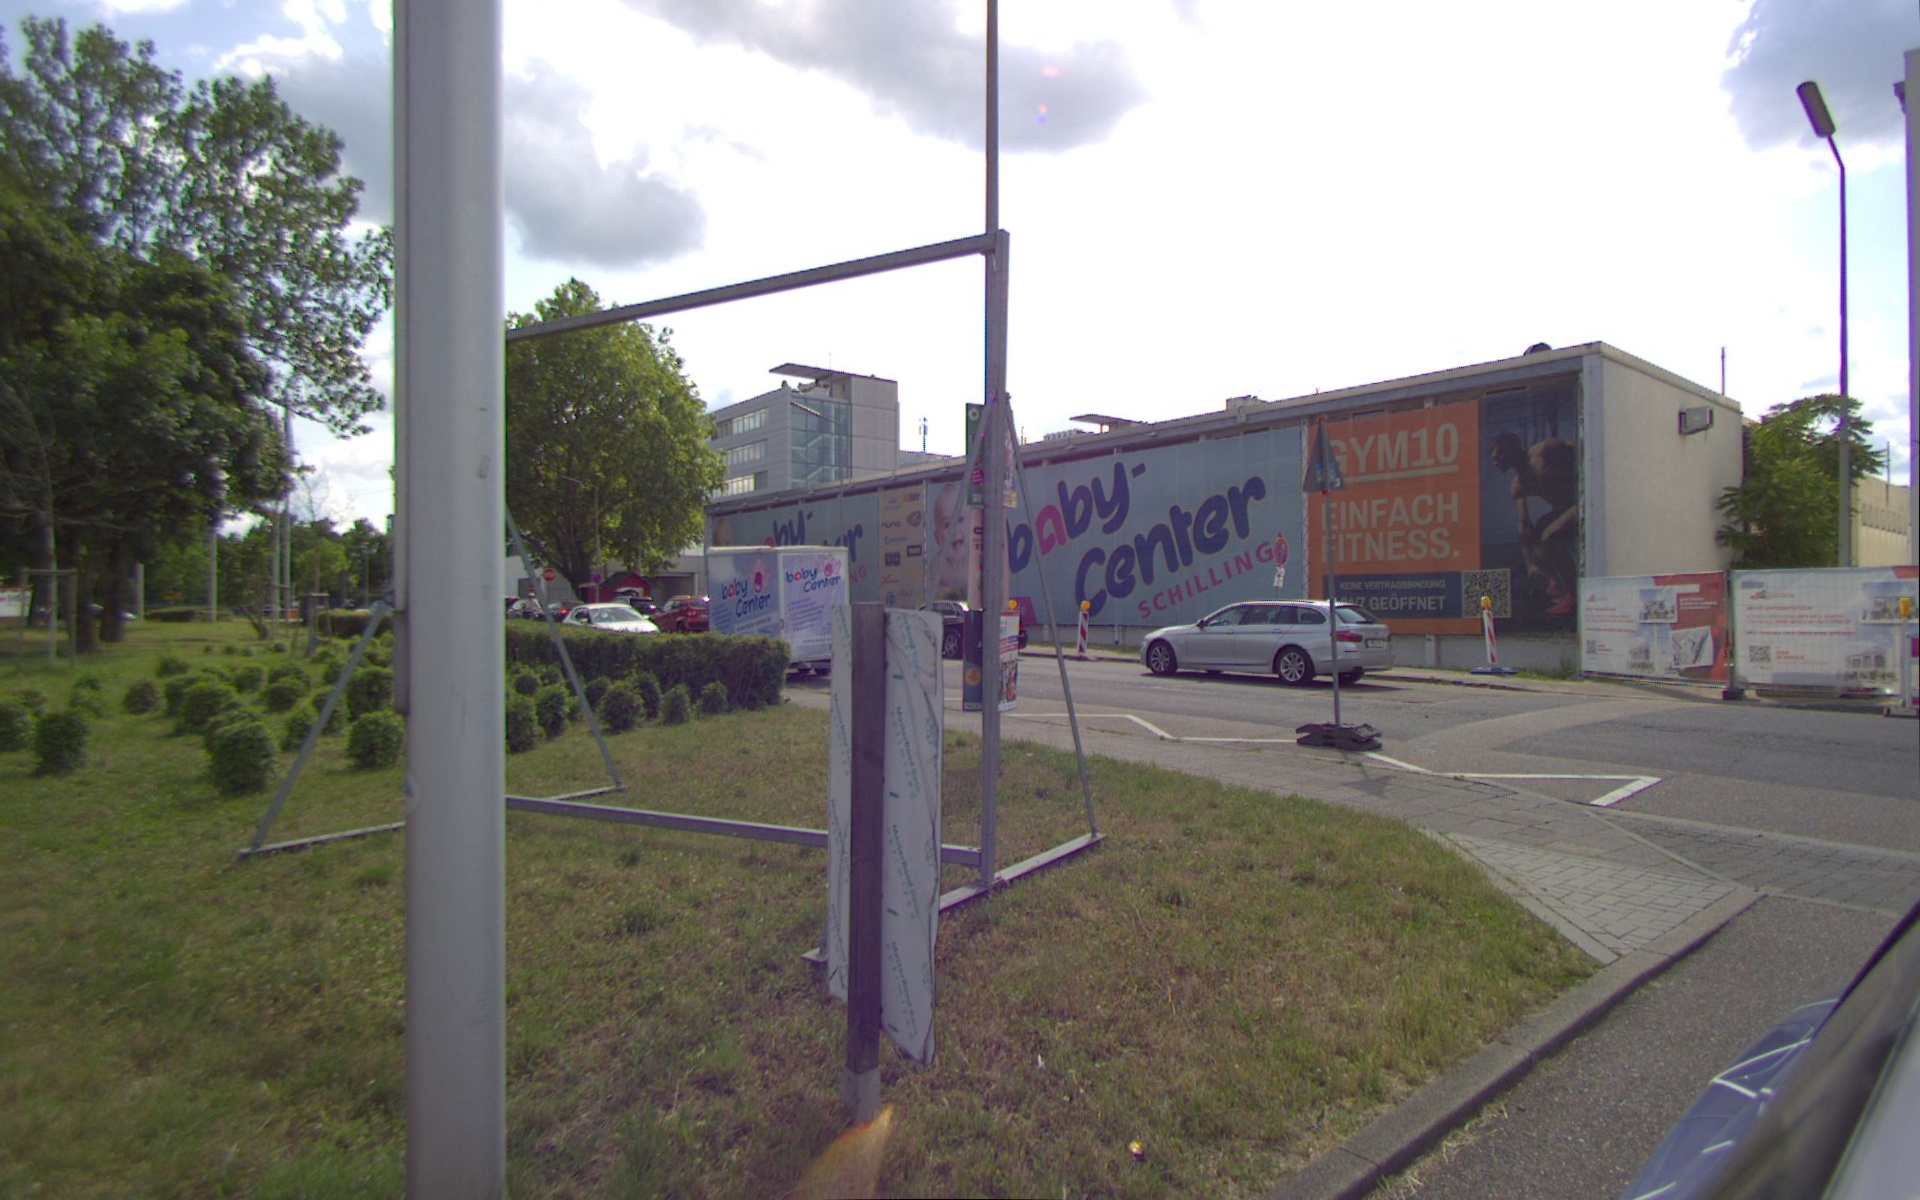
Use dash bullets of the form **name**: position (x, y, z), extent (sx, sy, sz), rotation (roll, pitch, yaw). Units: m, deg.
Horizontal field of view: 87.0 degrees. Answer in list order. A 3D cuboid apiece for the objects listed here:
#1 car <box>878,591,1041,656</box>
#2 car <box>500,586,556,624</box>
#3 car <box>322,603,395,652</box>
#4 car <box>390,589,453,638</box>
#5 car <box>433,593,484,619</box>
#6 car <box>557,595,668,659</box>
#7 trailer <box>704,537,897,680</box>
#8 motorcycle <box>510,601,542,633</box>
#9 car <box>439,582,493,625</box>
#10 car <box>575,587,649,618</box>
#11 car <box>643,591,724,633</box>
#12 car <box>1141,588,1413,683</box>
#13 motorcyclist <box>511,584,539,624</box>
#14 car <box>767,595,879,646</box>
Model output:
- **car**: position (-0.110, 0.549, 26.227), extent (1.819, 1.518, 4.552), rotation (0, 0, -38)
- **car**: position (-24.042, 0.269, 56.232), extent (1.963, 2.039, 3.997), rotation (0, 0, -37)
- **car**: position (-22.117, 0.990, 37.149), extent (1.688, 1.559, 3.683), rotation (-5, 2, -39)
- **car**: position (-24.992, 0.577, 46.872), extent (1.963, 2.038, 3.999), rotation (-4, 3, -36)
- **car**: position (-32.797, 0.361, 66.099), extent (1.966, 1.603, 3.991), rotation (0, 0, -43)
- **car**: position (-9.631, 0.690, 27.879), extent (1.688, 1.559, 3.684), rotation (-3, 2, -39)
- **trailer**: position (-3.215, 0.093, 19.711), extent (1.738, 2.448, 4.273), rotation (-4, 3, -39)
- **motorcycle**: position (-18.050, 0.699, 42.027), extent (0.634, 1.261, 1.956), rotation (-4, 2, -39)
- **car**: position (-26.265, 0.143, 53.705), extent (1.963, 2.038, 4.001), rotation (-4, 3, -34)
- **car**: position (-17.164, 0.112, 49.735), extent (1.977, 1.422, 4.784), rotation (-1, 1, -38)
- **car**: position (-10.530, 0.444, 38.440), extent (1.572, 1.522, 3.499), rotation (0, 0, -42)
- **car**: position (5.612, 0.569, 18.485), extent (1.738, 1.499, 4.615), rotation (1, -1, -37)
- **motorcyclist**: position (-18.051, 0.147, 41.978), extent (0.761, 1.617, 0.902), rotation (-4, 3, -41)
- **car**: position (-4.415, 0.598, 32.171), extent (1.762, 1.509, 3.944), rotation (0, 0, -39)
